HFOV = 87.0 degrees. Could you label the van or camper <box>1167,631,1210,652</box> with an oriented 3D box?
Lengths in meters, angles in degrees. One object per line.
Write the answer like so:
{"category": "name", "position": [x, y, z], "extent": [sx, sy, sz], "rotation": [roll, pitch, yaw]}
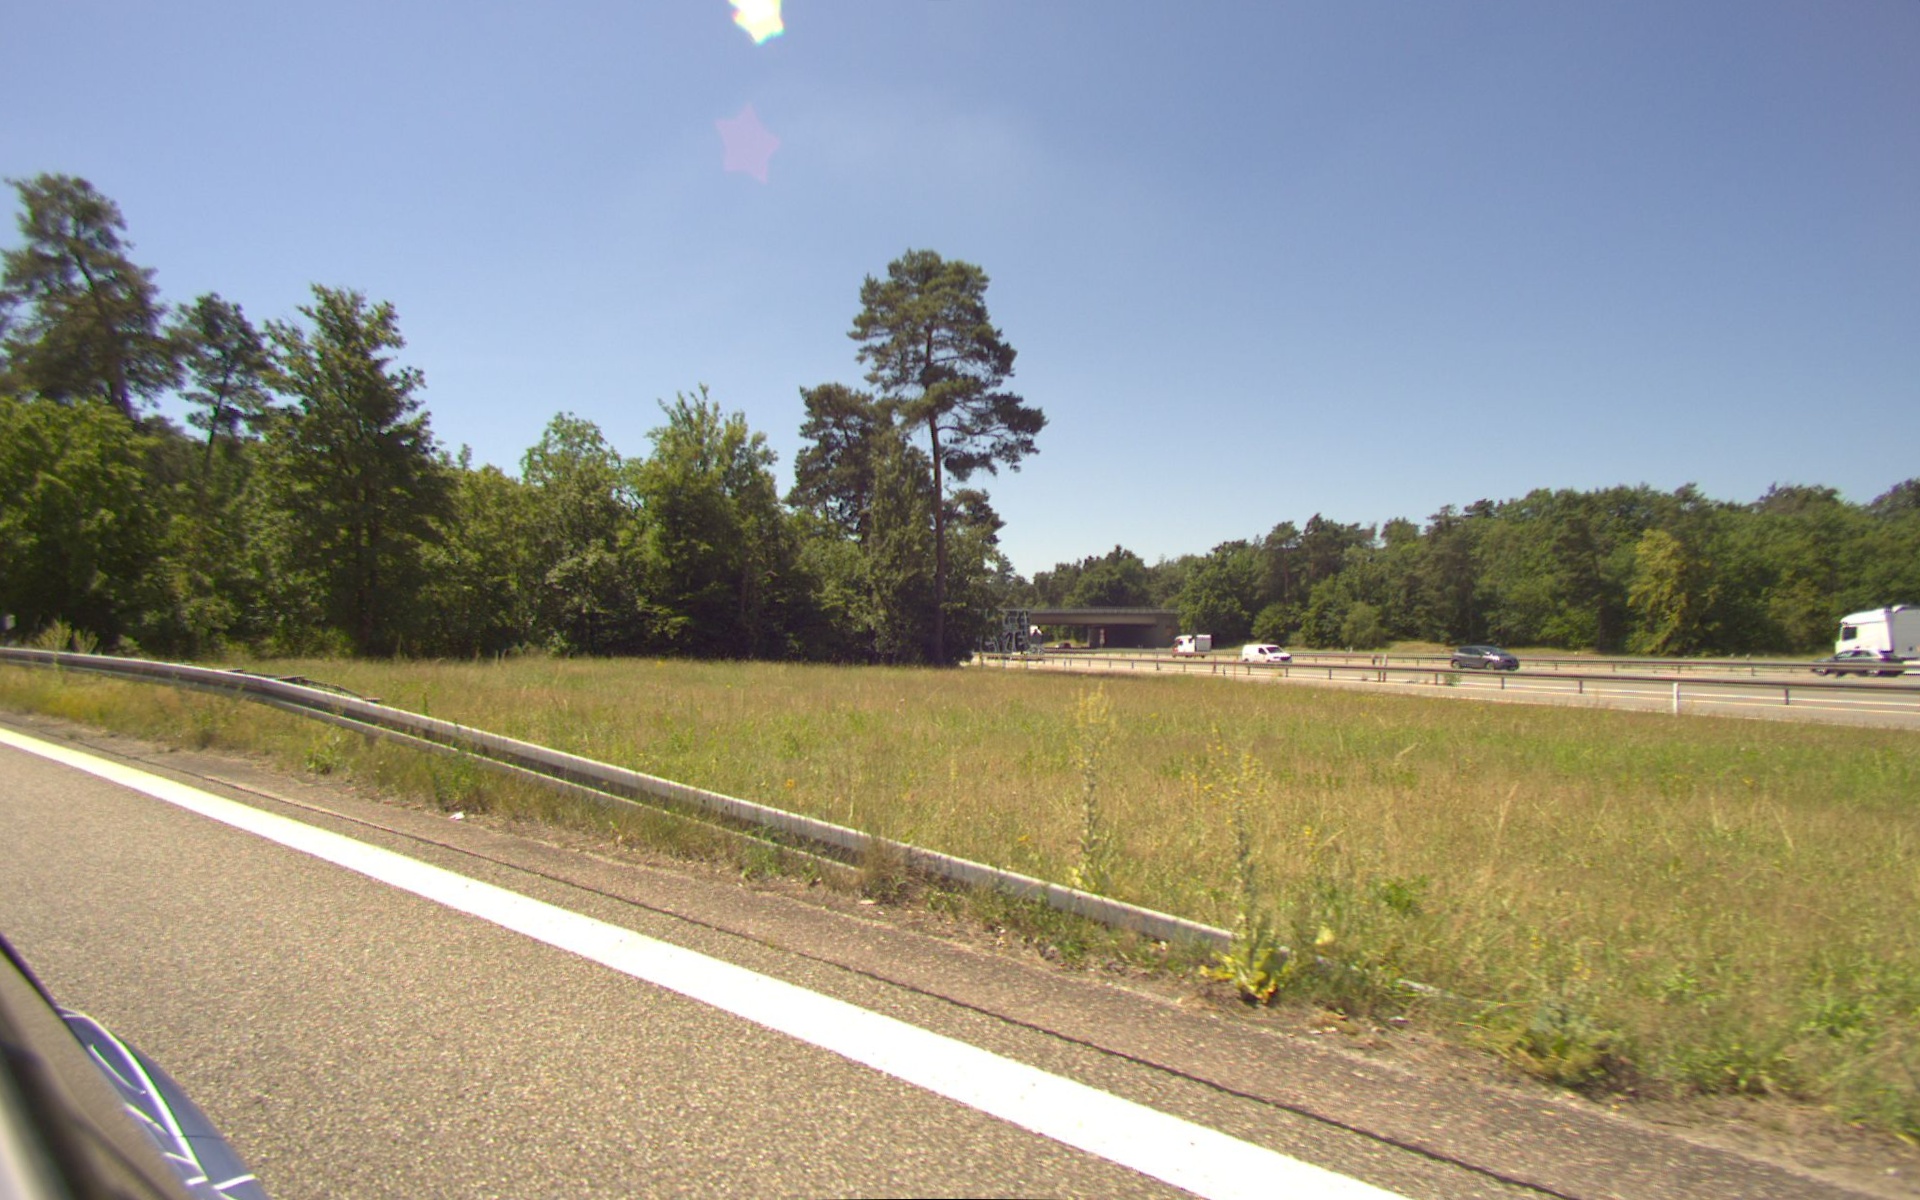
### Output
{"category": "van or camper", "position": [27.803, 5.036, 123.201], "extent": [2.210, 2.394, 5.846], "rotation": [2, -3, -21]}

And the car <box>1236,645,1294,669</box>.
{"category": "car", "position": [23.967, 4.441, 79.764], "extent": [1.747, 1.767, 5.035], "rotation": [0, -2, -18]}

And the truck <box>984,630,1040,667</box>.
{"category": "truck", "position": [6.022, 5.791, 120.478], "extent": [2.665, 4.089, 11.081], "rotation": [-1, -2, -19]}

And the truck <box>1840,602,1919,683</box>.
{"category": "truck", "position": [53.996, 2.401, 56.802], "extent": [2.898, 4.426, 6.290], "rotation": [2, -3, -18]}

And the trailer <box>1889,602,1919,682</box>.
{"category": "trailer", "position": [56.049, 2.135, 50.690], "extent": [2.884, 4.421, 14.340], "rotation": [2, -3, -18]}

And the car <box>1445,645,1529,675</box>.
{"category": "car", "position": [33.481, 3.761, 64.477], "extent": [1.747, 1.697, 4.840], "rotation": [-1, -1, -18]}
